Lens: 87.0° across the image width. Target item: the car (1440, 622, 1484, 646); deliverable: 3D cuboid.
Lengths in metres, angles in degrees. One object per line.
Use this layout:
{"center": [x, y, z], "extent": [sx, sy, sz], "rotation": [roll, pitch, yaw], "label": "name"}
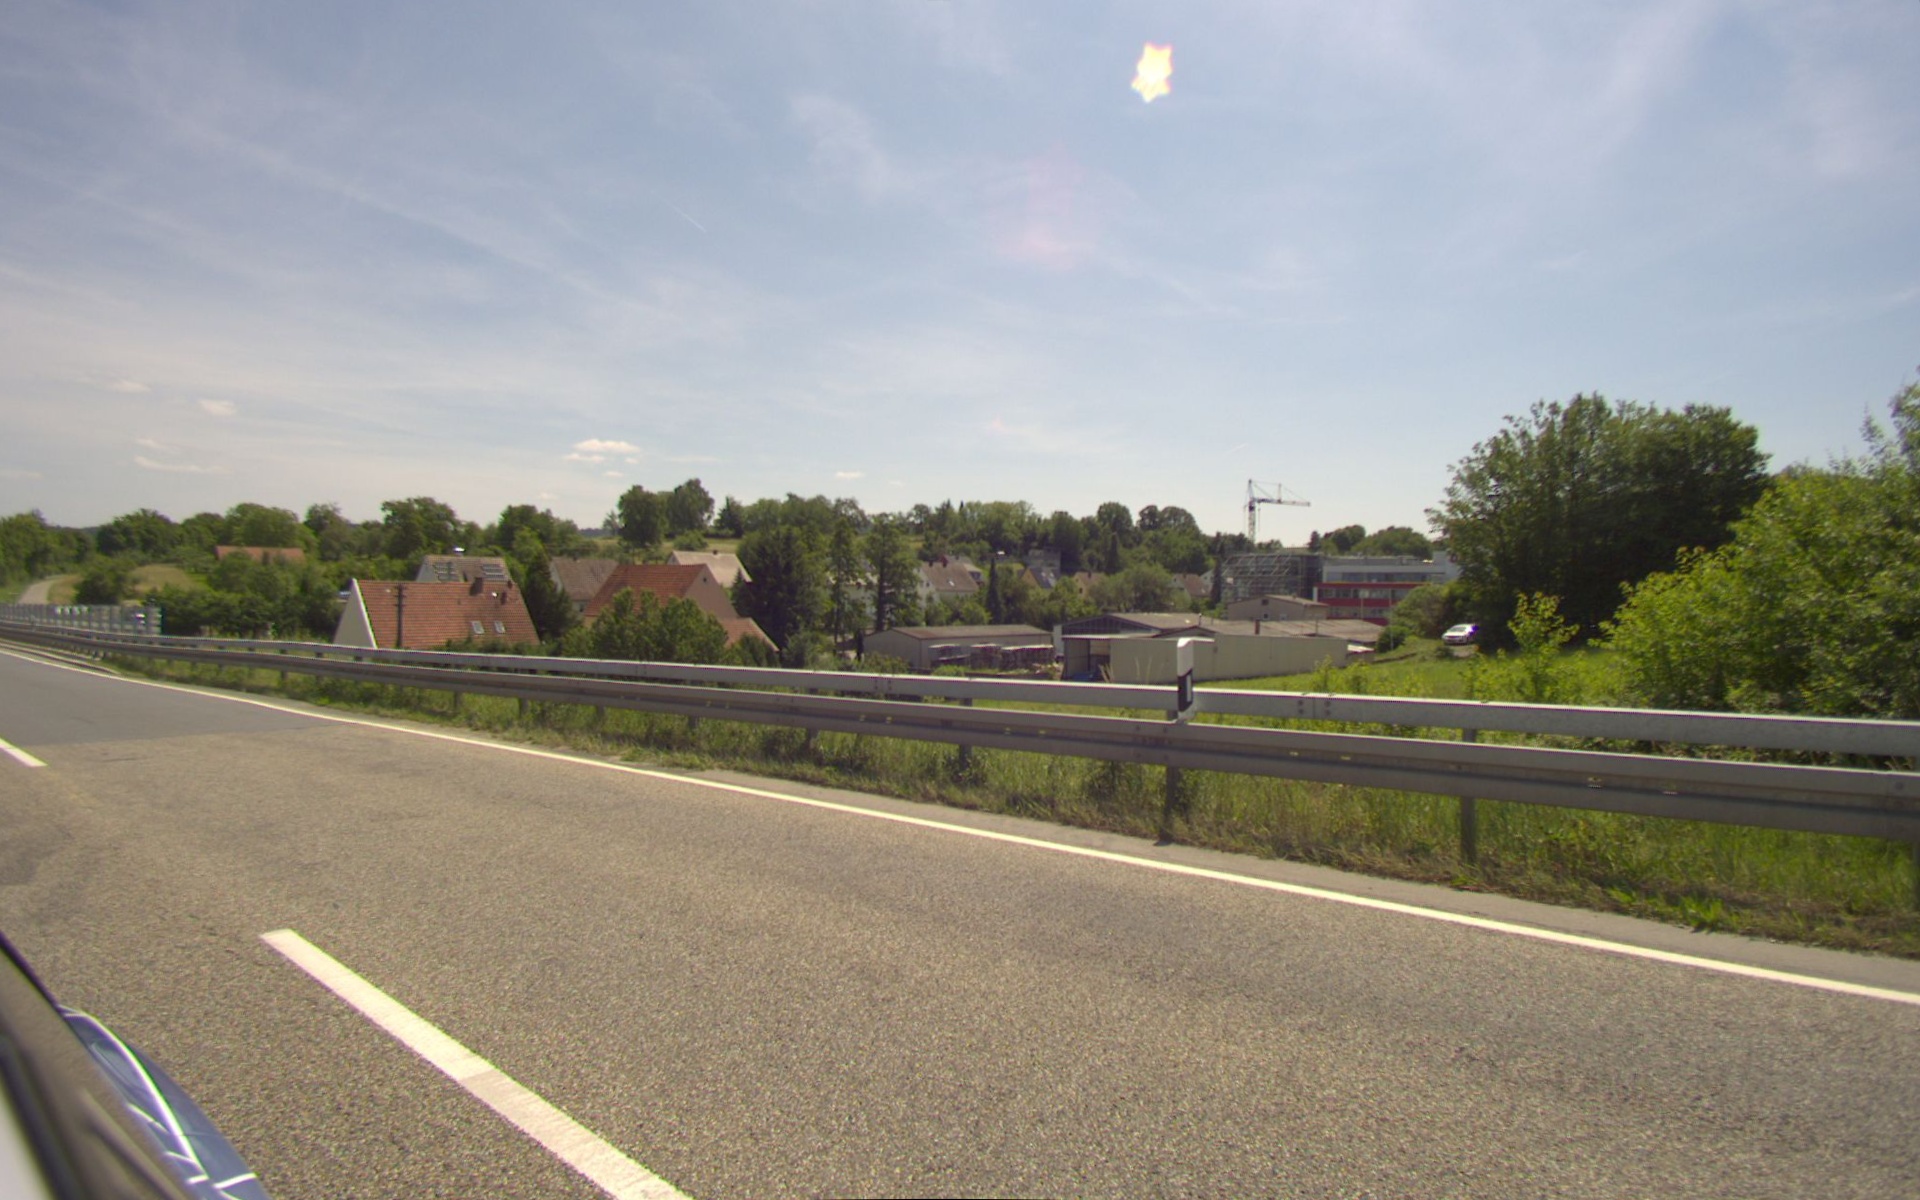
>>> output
{"center": [38.919, 2.621, 78.403], "extent": [1.833, 1.615, 3.942], "rotation": [-5, -2, 45], "label": "car"}
